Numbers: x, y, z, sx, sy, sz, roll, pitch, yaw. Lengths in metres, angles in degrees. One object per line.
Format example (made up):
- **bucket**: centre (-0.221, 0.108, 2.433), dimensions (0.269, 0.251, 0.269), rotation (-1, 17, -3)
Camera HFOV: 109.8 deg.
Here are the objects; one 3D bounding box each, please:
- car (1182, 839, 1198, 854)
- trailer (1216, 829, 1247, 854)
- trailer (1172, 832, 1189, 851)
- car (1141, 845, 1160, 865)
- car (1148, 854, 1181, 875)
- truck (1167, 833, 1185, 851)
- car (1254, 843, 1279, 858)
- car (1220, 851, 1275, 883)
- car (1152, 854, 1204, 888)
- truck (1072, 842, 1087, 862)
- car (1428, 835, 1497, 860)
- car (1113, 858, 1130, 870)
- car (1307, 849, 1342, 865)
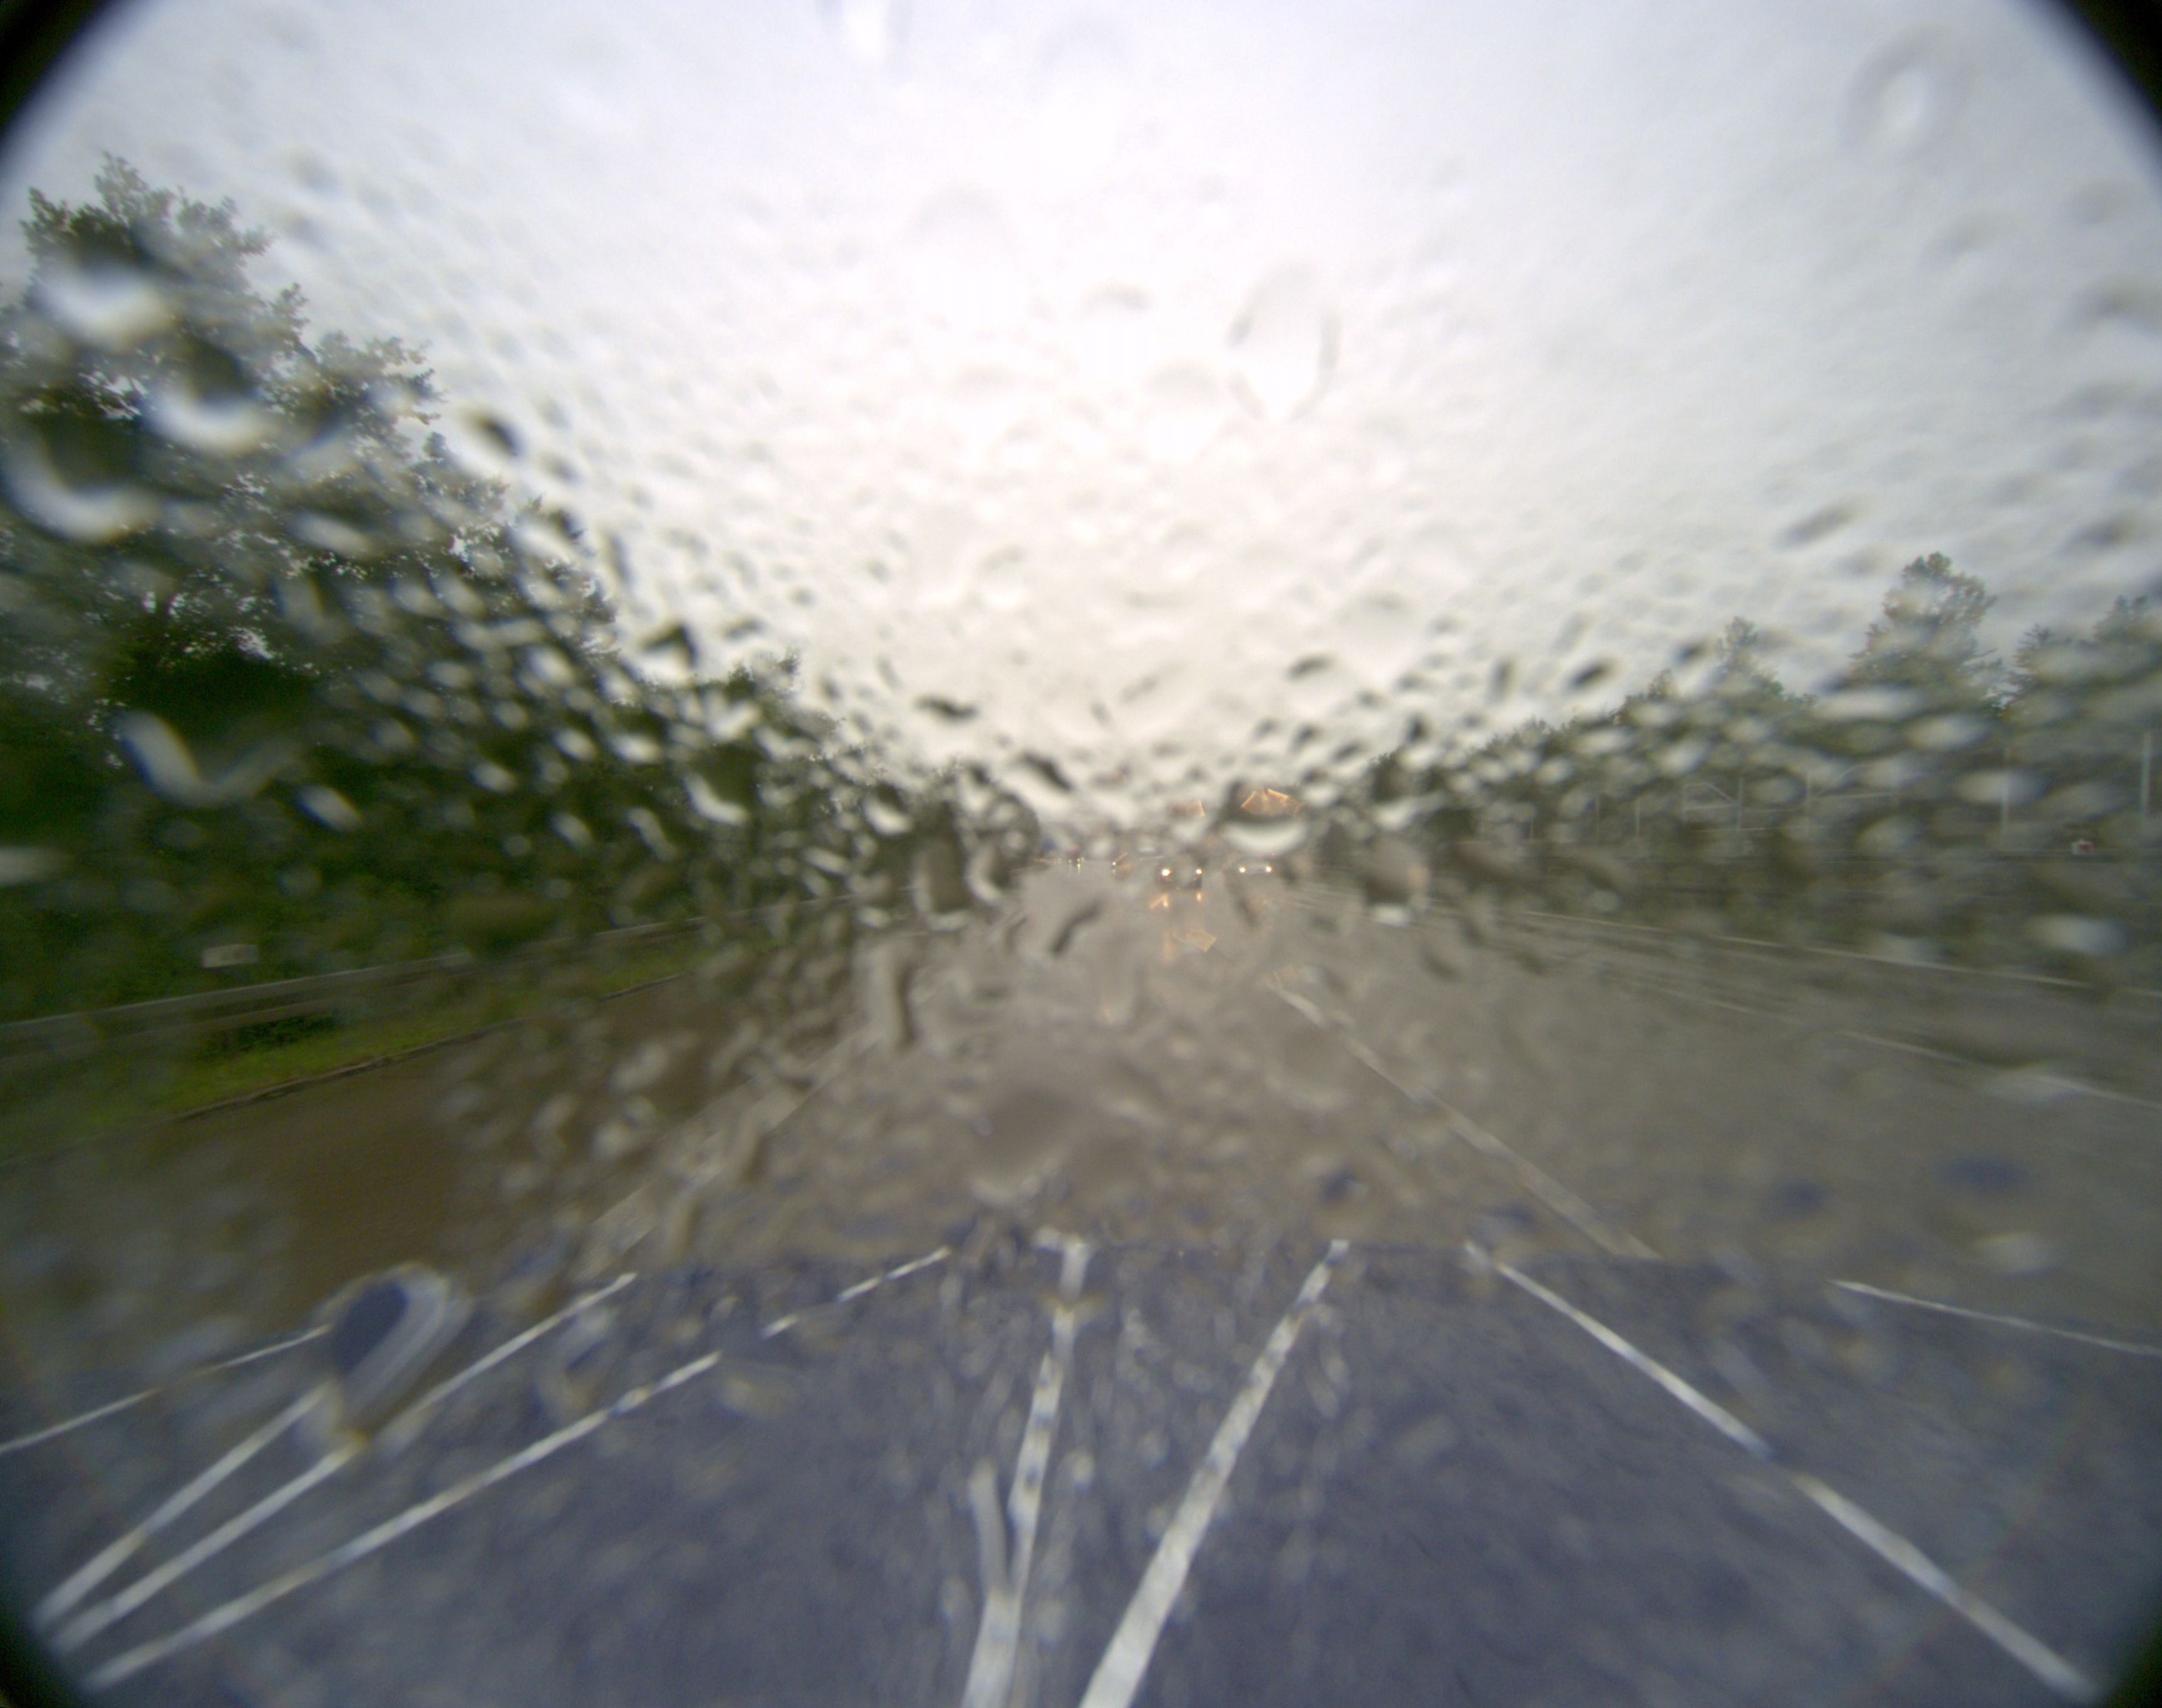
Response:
- **car**: centre (21.459, -1.451, 149.708), dimensions (2.188, 2.552, 7.445), rotation (-4, 0, 1)
- **trailer**: centre (25.431, -2.001, 129.204), dimensions (2.774, 3.779, 13.778), rotation (-4, 0, 1)
- **trailer**: centre (23.484, -2.818, 179.520), dimensions (2.855, 4.130, 8.524), rotation (-4, 0, 0)
- **car**: centre (9.363, 0.110, 103.444), dimensions (2.045, 2.616, 6.403), rotation (-1, 0, 0)
- **car**: centre (6.095, 0.762, 55.905), dimensions (1.934, 1.426, 4.518), rotation (-1, 0, 0)
- **truck**: centre (23.600, -2.907, 188.880), dimensions (2.855, 4.130, 10.178), rotation (-4, 0, 0)
- **car**: centre (22.217, -0.420, 91.060), dimensions (1.998, 1.674, 4.000), rotation (-2, 0, 1)
- **car**: centre (8.100, 0.614, 37.338), dimensions (1.671, 1.426, 4.349), rotation (-2, 0, -1)
- **car**: centre (4.396, 0.721, 35.152), dimensions (1.934, 1.426, 4.518), rotation (-1, 0, 1)
- **truck**: centre (-0.328, -0.369, 173.129), dimensions (3.058, 3.994, 10.046), rotation (-1, -2, 2)
- **car**: centre (21.896, -0.353, 43.817), dimensions (1.757, 1.296, 4.343), rotation (-4, 0, 0)
- **car**: centre (5.085, 1.244, 95.927), dimensions (1.934, 1.426, 4.518), rotation (-1, 0, 1)
- **car**: centre (22.438, 0.238, 70.158), dimensions (1.757, 1.296, 4.343), rotation (-4, 0, 0)
